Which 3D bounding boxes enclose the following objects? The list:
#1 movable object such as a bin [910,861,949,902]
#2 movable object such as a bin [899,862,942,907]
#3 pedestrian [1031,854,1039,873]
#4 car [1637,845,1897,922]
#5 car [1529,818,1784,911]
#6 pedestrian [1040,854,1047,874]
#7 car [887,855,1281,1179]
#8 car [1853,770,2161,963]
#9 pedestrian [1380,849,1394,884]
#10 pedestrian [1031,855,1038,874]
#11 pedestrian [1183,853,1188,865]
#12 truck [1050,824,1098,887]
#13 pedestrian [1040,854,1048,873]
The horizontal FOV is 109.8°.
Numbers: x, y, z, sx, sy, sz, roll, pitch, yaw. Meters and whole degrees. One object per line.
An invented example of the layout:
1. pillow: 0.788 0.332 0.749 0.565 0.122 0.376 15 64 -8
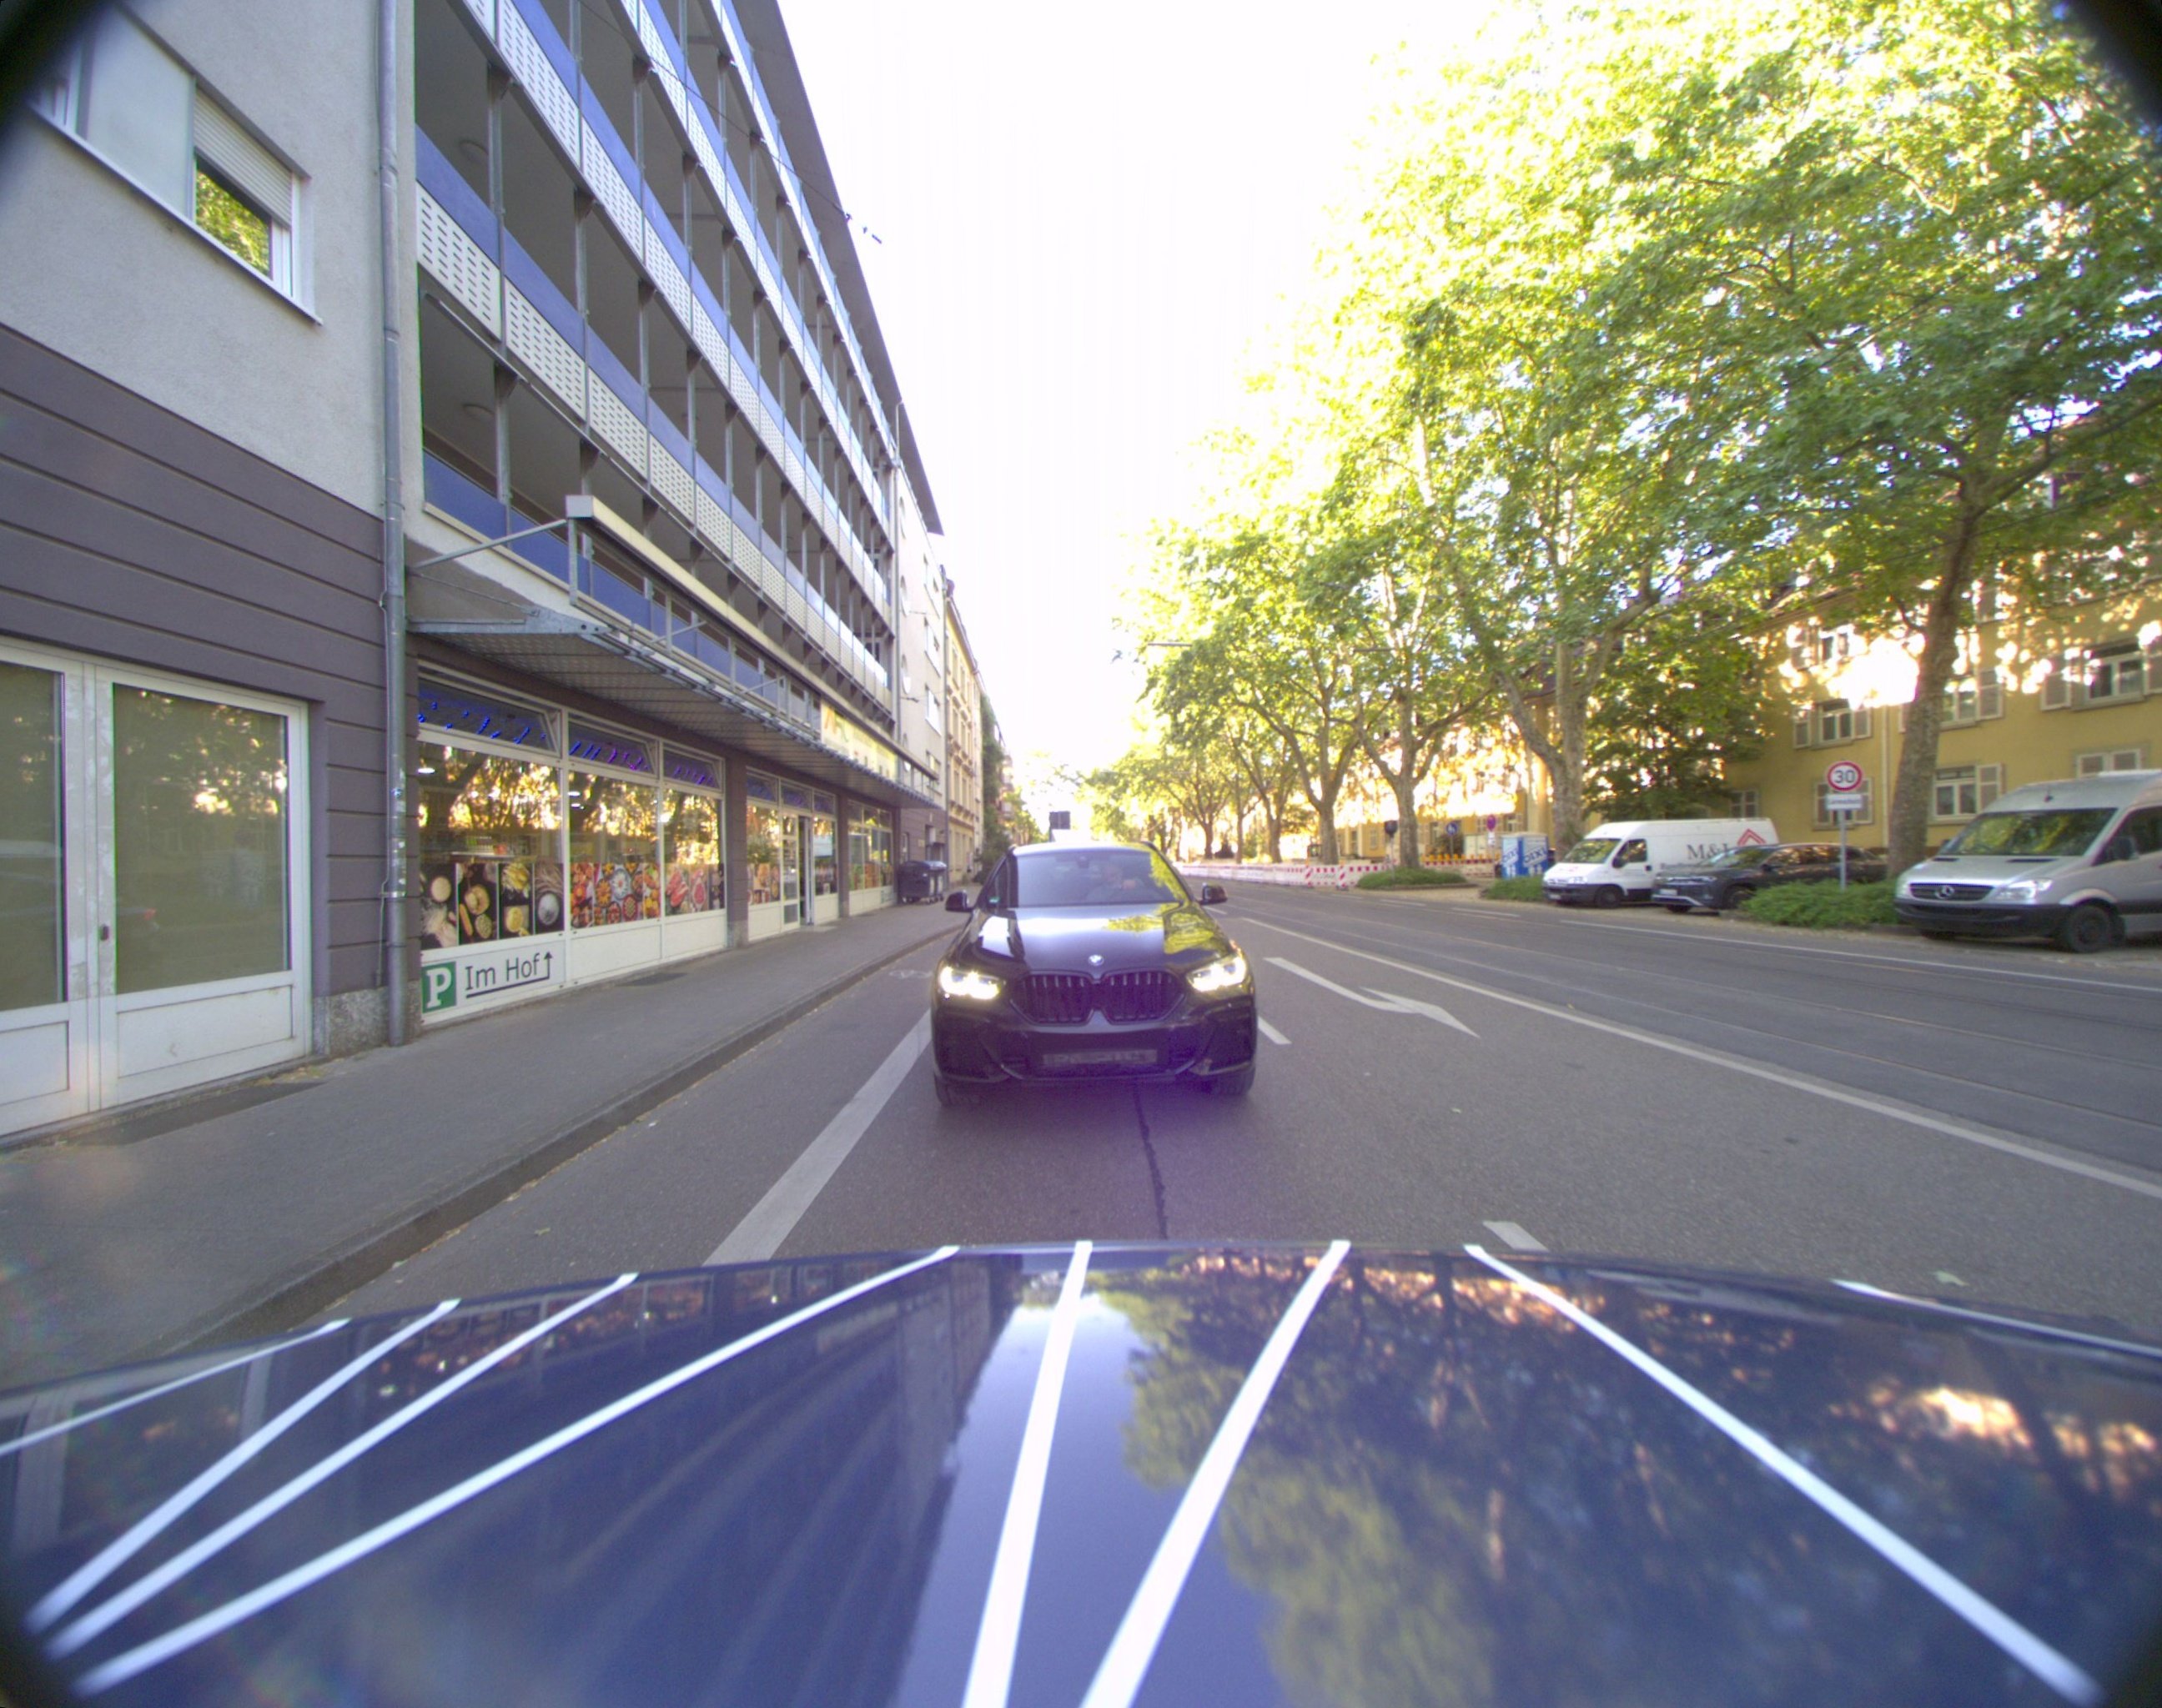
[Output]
1. movable object such as a bin: -5.320 0.951 26.697 1.158 1.418 0.939 -1 0 1
2. movable object such as a bin: -5.199 0.976 24.659 1.158 1.418 0.939 -1 0 1
3. pedestrian: -4.627 0.976 76.233 0.733 1.875 0.664 -2 1 -1
4. car: 16.081 0.655 17.951 4.627 1.642 1.774 -1 0 -2
5. car: 15.847 0.287 21.158 5.404 2.362 2.223 -1 0 0
6. pedestrian: -3.571 0.989 73.131 0.600 1.875 0.581 -2 1 -1
7. car: 0.045 0.848 6.053 1.998 1.643 4.295 -1 0 1
8. car: 15.987 0.126 11.869 5.666 2.666 2.223 -2 0 -2
9. pedestrian: 15.961 0.646 39.580 0.582 1.735 0.653 -2 1 18
10. pedestrian: -4.571 1.008 74.891 0.600 1.875 0.581 -2 1 -1
11. pedestrian: 16.425 0.761 119.298 0.732 1.875 0.665 -2 1 5
12. truck: -0.311 0.118 42.134 2.394 3.170 6.587 -1 0 1
13. pedestrian: -3.680 0.962 76.265 0.733 1.875 0.664 -2 1 -1
